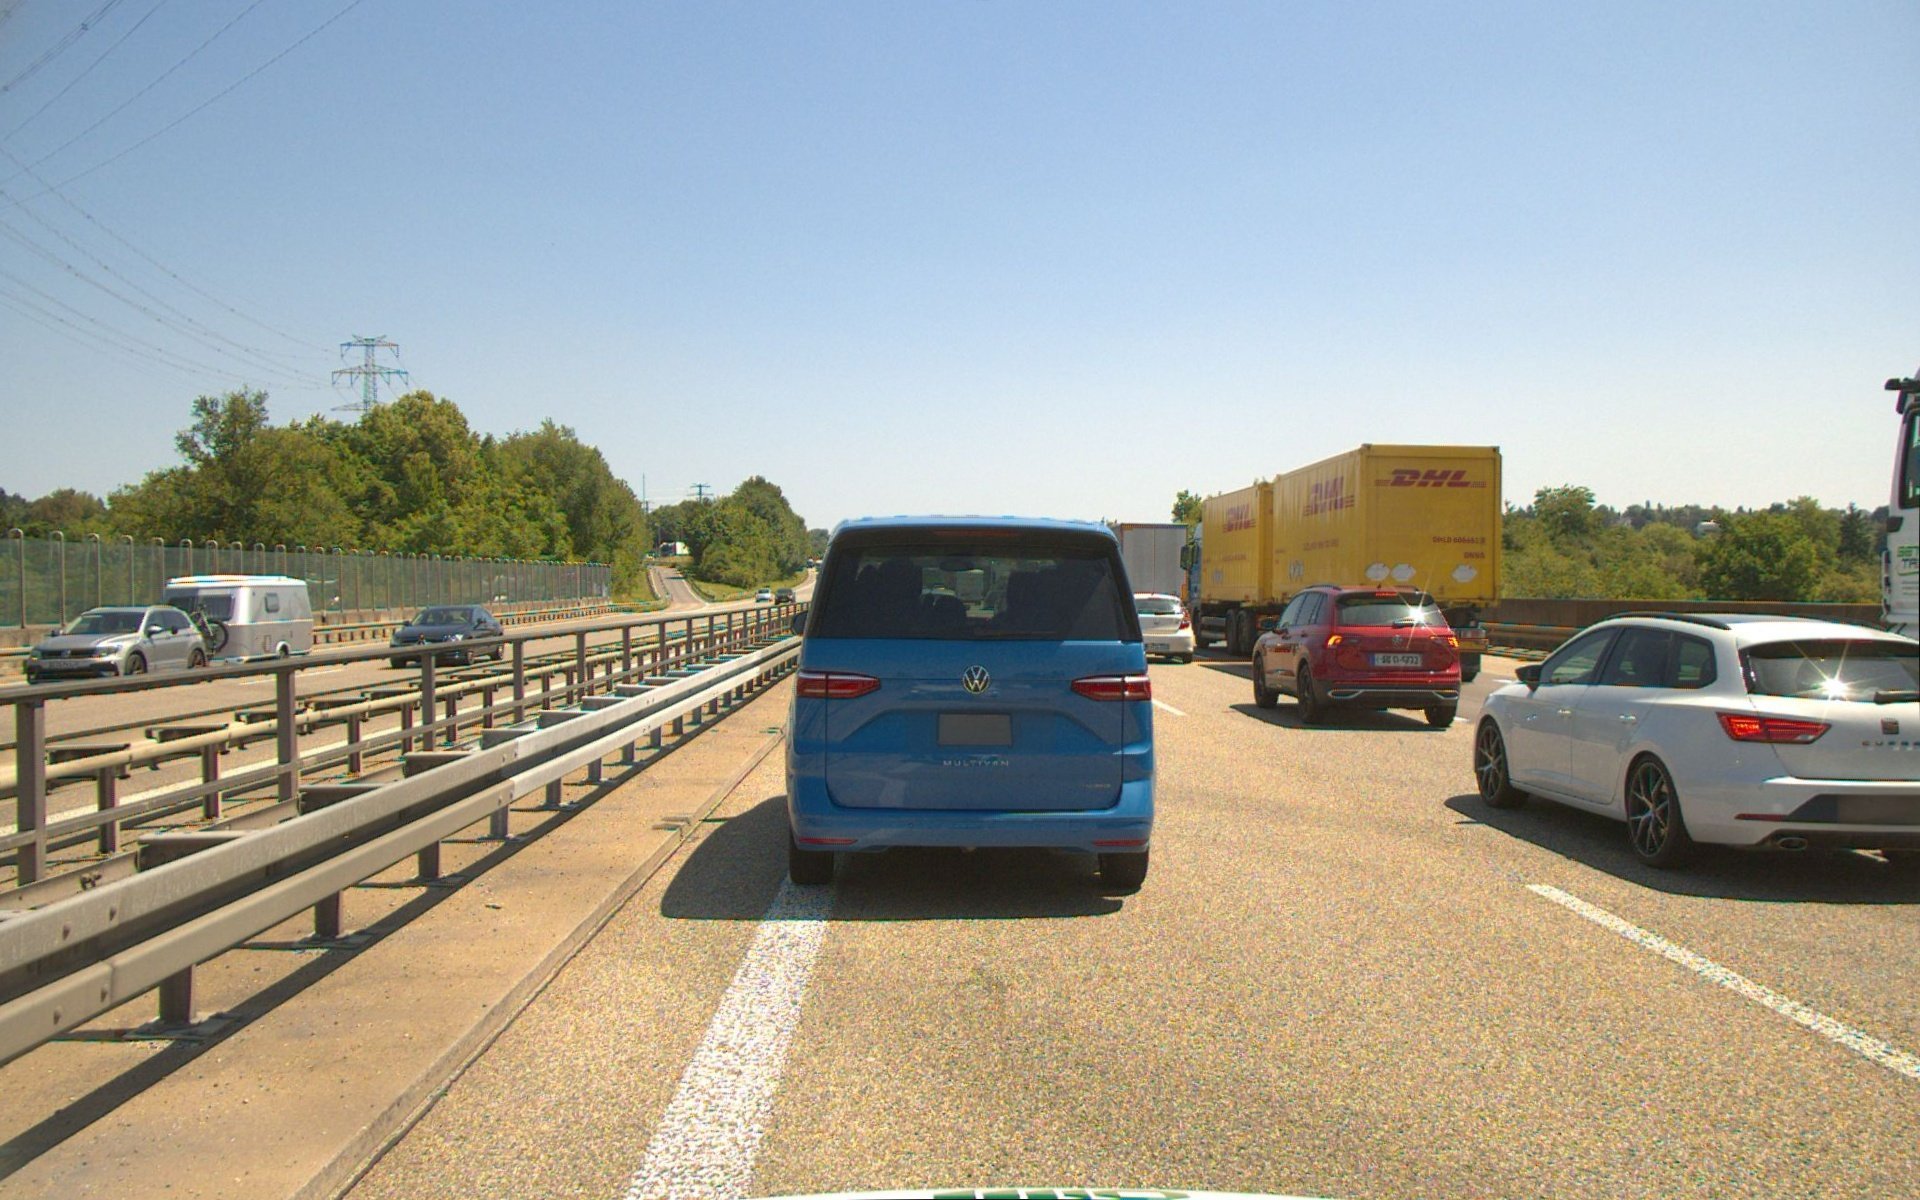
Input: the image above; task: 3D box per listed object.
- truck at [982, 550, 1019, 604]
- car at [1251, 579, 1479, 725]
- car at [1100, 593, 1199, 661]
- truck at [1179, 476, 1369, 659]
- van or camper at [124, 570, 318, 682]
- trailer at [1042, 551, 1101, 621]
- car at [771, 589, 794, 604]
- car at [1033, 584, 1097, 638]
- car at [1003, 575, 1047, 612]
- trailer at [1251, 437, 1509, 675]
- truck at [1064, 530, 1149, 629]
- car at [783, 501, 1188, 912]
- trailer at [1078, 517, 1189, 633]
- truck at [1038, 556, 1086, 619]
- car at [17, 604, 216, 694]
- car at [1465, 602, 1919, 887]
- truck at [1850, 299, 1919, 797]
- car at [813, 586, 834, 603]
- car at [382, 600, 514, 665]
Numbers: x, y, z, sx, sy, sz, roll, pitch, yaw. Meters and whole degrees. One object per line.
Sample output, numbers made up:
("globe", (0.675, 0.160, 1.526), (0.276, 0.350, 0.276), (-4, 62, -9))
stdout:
("truck", (3.893, -2.155, 163.179), (2.777, 5.128, 11.140), (1, 0, -3))
("car", (4.952, 0.577, 20.788), (1.813, 1.636, 3.999), (1, 0, -1))
("car", (4.224, 0.575, 37.363), (1.801, 1.438, 4.000), (0, 0, 0))
("truck", (7.841, -0.719, 42.842), (2.667, 4.125, 10.332), (1, 0, -2))
("van or camper", (-16.594, 0.559, 37.507), (1.953, 2.250, 5.535), (-3, 0, -2))
("trailer", (6.436, -0.752, 96.874), (2.331, 3.809, 11.184), (1, 0, -2))
("car", (-16.664, -0.309, 155.076), (1.764, 1.410, 4.262), (1, 0, -1))
("car", (3.248, 0.357, 51.782), (1.680, 1.614, 3.820), (1, -1, -1))
("car", (2.817, -0.286, 72.399), (1.680, 1.567, 3.820), (-1, 0, -1))
("trailer", (8.088, -0.747, 33.203), (2.647, 4.094, 8.927), (1, 0, -2))
("truck", (6.469, -0.883, 74.069), (2.713, 4.167, 6.979), (1, 0, -3))
("car", (0.079, 0.482, 9.560), (1.844, 1.869, 3.999), (0, 0, -1))
("trailer", (6.822, -0.902, 66.794), (2.700, 4.219, 11.305), (1, 0, -3))
("truck", (6.272, -0.735, 102.496), (2.320, 3.787, 6.031), (1, 0, -2))
("car", (-16.495, 0.915, 32.600), (1.819, 1.572, 4.199), (-3, 0, -2))
("car", (4.778, 0.737, 10.476), (1.745, 1.411, 4.186), (0, 0, -2))
("truck", (8.613, -0.350, 7.710), (2.793, 3.665, 10.764), (1, 0, -2))
("car", (-12.990, -0.507, 157.609), (1.803, 1.556, 3.557), (-2, 0, -1))
("car", (-12.495, 0.769, 40.671), (1.818, 1.422, 4.674), (-3, 0, -1))
